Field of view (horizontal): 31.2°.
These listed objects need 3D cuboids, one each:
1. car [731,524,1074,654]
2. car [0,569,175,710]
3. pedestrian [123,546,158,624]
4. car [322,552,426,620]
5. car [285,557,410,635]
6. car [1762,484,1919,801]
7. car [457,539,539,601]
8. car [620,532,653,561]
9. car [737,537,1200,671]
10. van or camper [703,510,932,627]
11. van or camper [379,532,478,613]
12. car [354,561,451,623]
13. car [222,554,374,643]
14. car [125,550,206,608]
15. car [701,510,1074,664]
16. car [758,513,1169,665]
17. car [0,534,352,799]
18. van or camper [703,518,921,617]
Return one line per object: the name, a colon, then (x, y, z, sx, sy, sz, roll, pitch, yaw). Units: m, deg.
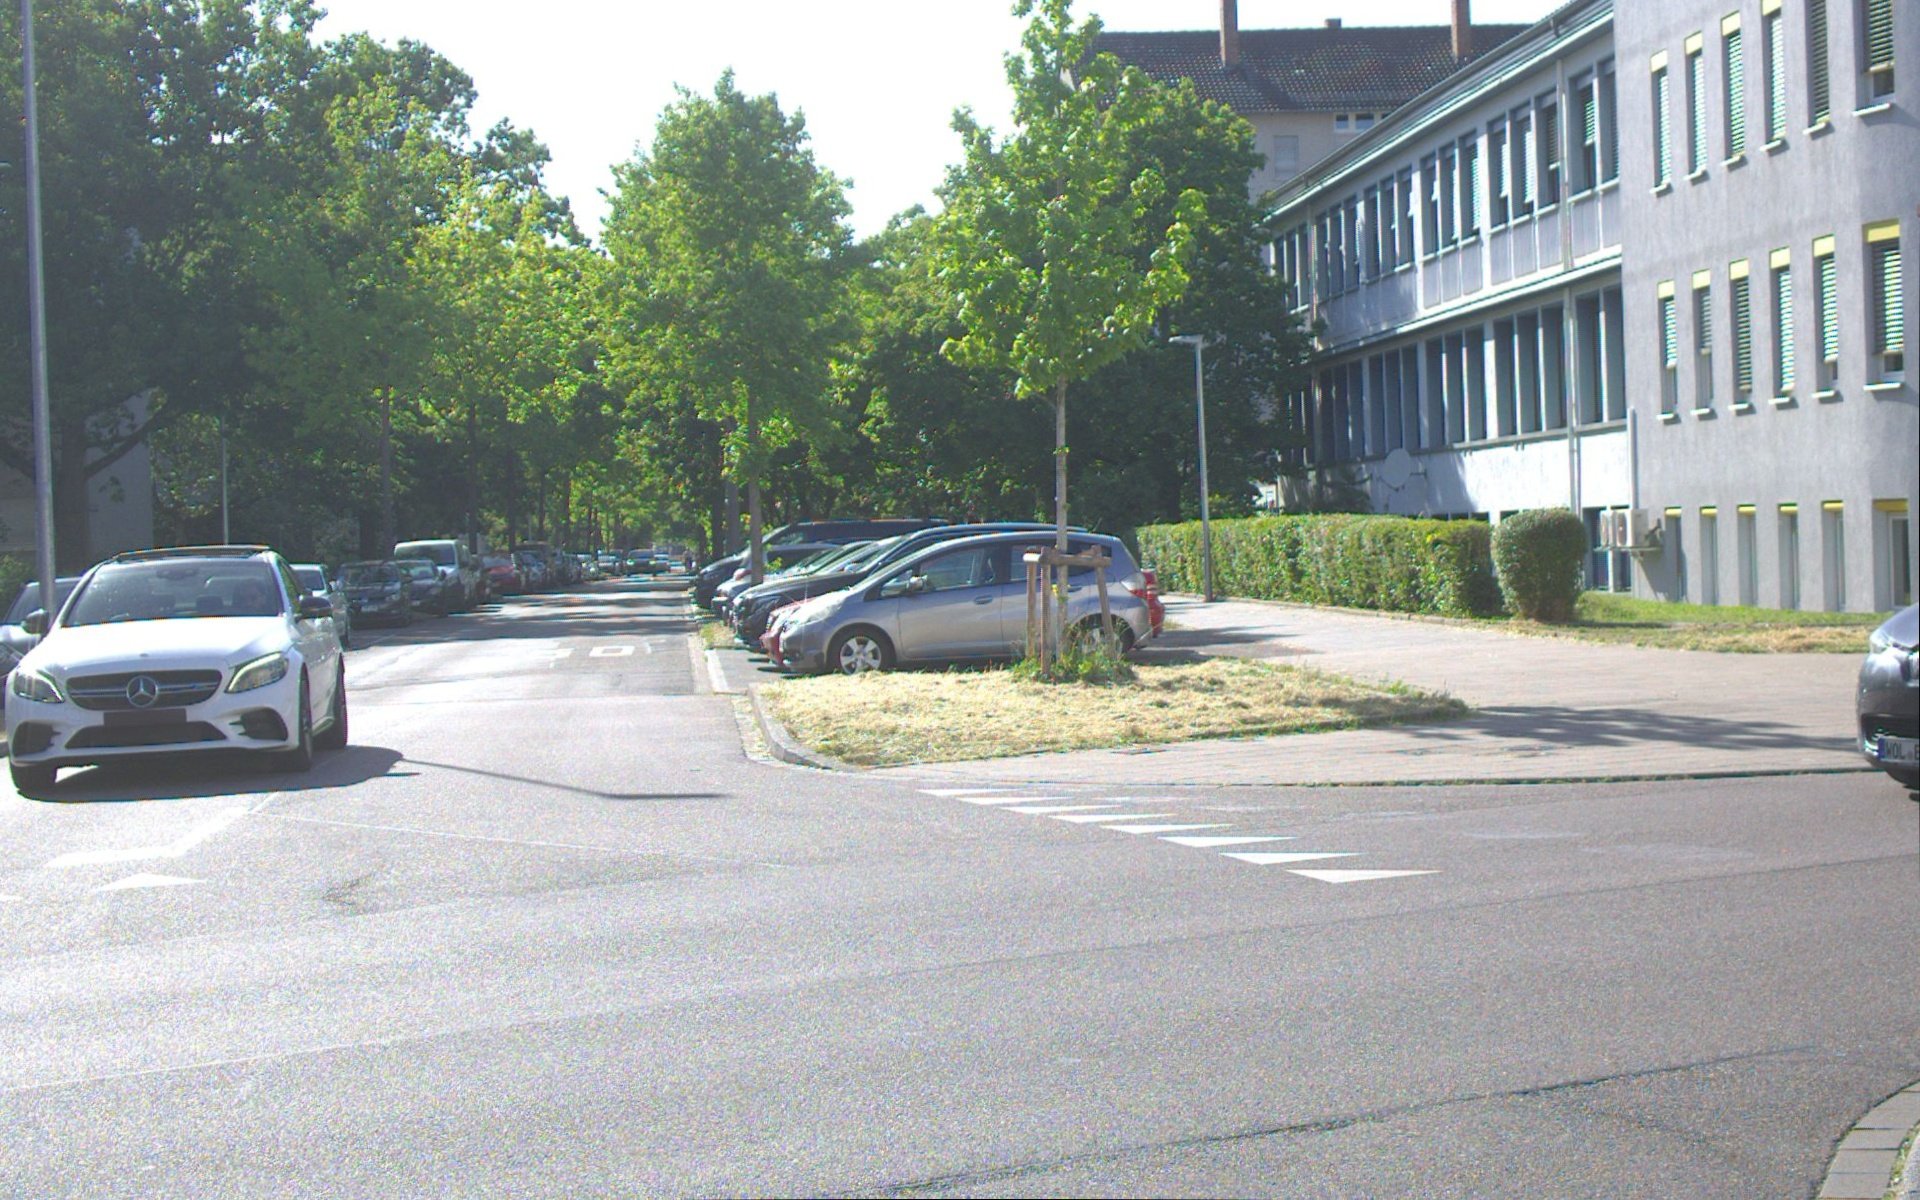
car: (-0.775, -0.141, 43.928, 4.203, 1.590, 2.000, 0, 0, -6)
car: (-9.456, 0.389, 36.678, 1.667, 1.415, 4.001, 0, 0, -6)
pedestrian: (-17.543, -0.326, 73.578, 0.634, 1.659, 0.700, -2, 1, -10)
car: (-12.496, -0.312, 73.509, 1.993, 1.403, 3.909, 0, 0, -7)
car: (-11.526, -0.087, 64.908, 1.842, 1.393, 4.001, -1, 0, -4)
car: (6.256, 0.174, 17.403, 4.124, 1.499, 1.843, -1, 1, -30)
car: (-15.406, -0.994, 114.826, 1.994, 2.007, 4.000, 1, 0, 3)
car: (-20.254, -3.369, 215.216, 1.993, 1.741, 4.001, -2, 1, -5)
car: (0.056, 0.033, 37.956, 4.869, 1.270, 1.729, -2, 1, -8)
van or camper: (-2.578, -0.559, 61.601, 3.986, 2.007, 2.000, -1, 0, -5)
van or camper: (-13.483, -0.686, 87.459, 1.993, 2.007, 4.000, 0, 0, -2)
car: (-13.159, -0.204, 81.341, 1.842, 1.393, 4.001, -1, 0, -4)
car: (-11.044, -0.035, 57.592, 1.993, 1.393, 4.001, -1, 0, -4)
car: (-17.775, -0.483, 76.990, 1.274, 1.221, 2.663, -2, 1, -2)
car: (-0.910, -0.154, 41.089, 4.278, 1.758, 2.000, 0, 0, -7)
car: (0.000, -0.120, 35.906, 4.087, 1.487, 1.729, -1, 0, -7)
car: (-5.122, 0.344, 22.527, 1.885, 1.499, 4.639, -2, 1, -6)
van or camper: (-2.799, -0.600, 64.369, 3.986, 1.766, 2.000, -1, 0, -5)
